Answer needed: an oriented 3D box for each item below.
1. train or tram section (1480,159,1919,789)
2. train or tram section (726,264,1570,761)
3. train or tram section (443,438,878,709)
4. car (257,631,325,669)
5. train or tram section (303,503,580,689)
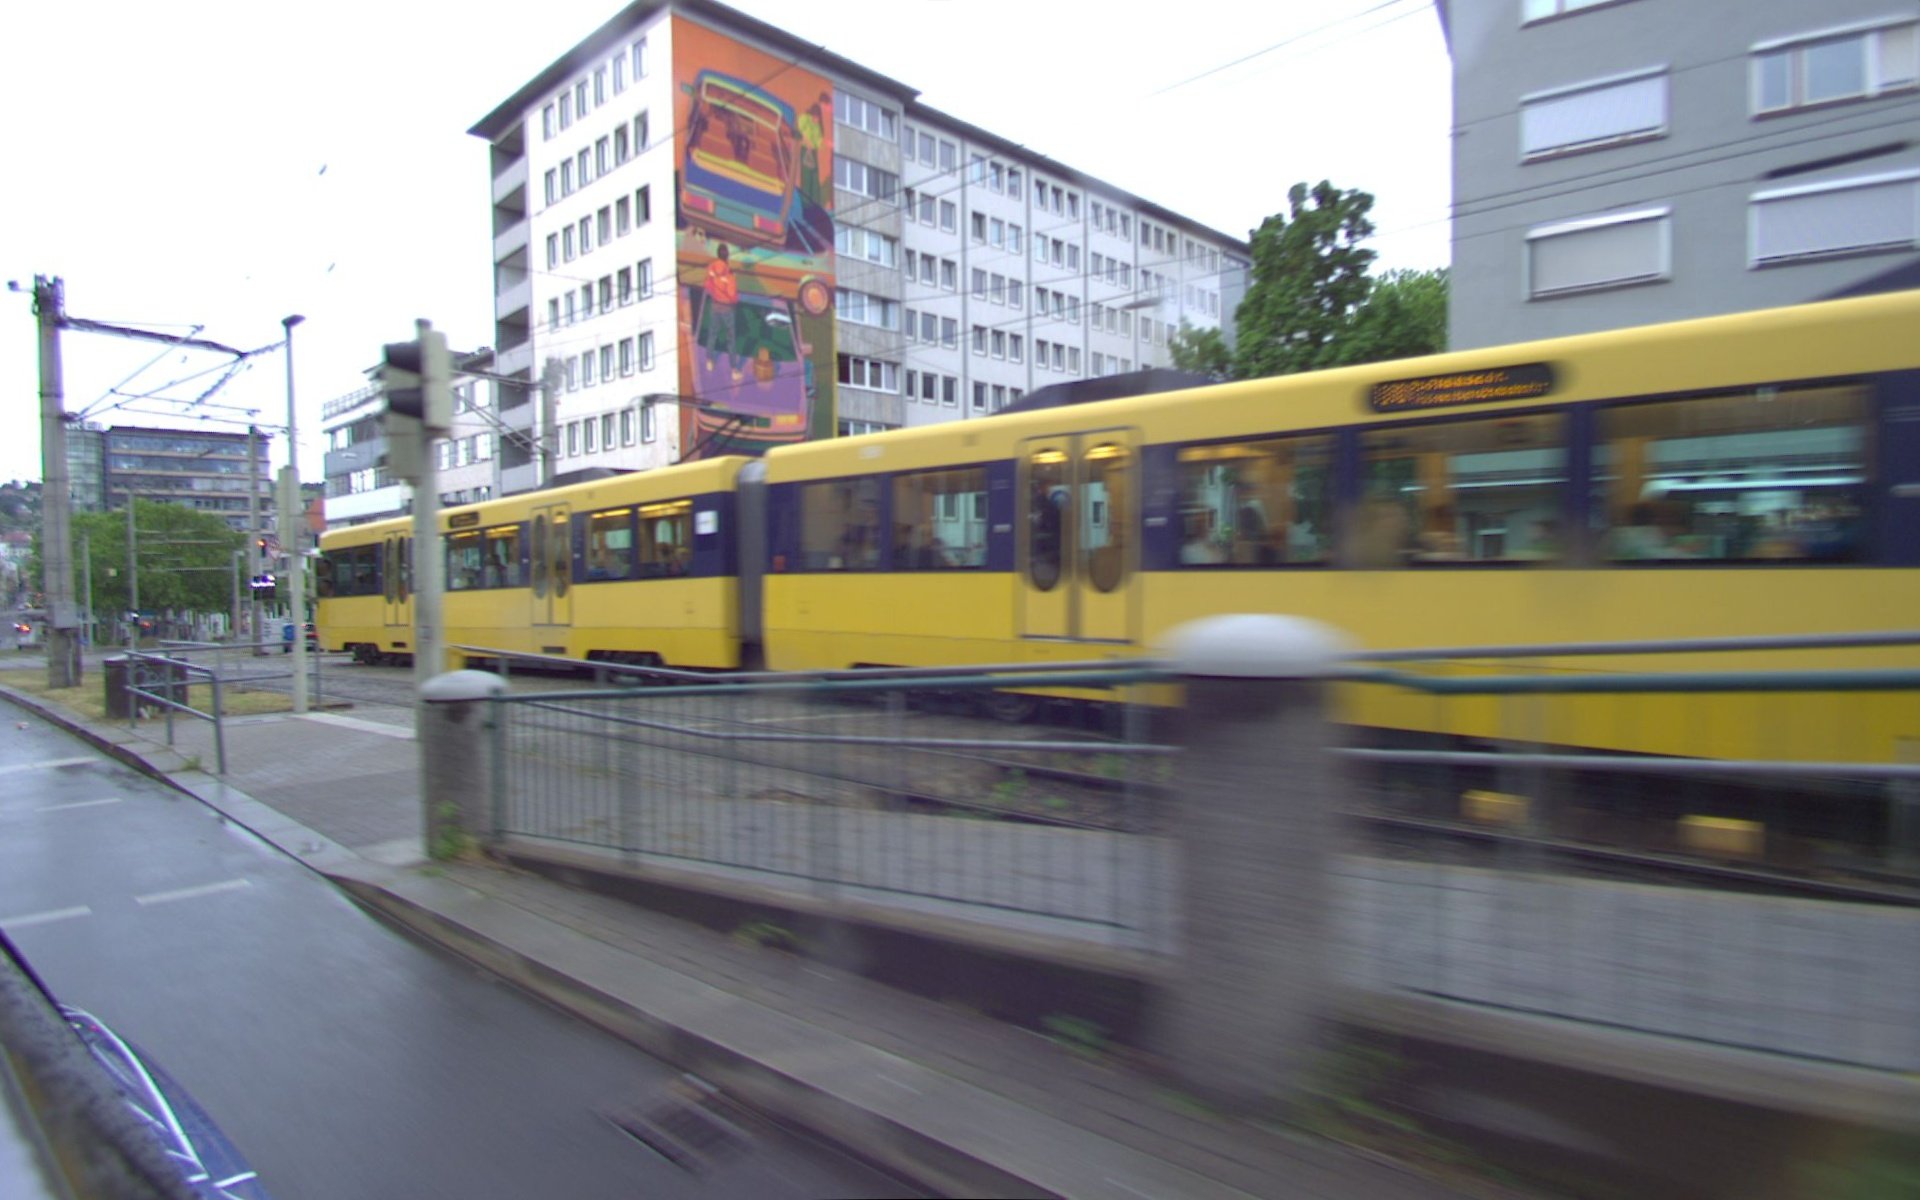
[{"bbox_3d":[8.463,-0.859,5.332,9.711,3.719,2.750,-2,1,42],"label":"train or tram section"},{"bbox_3d":[1.302,-0.572,11.784,9.506,3.719,2.750,-2,1,42],"label":"train or tram section"},{"bbox_3d":[-5.809,-0.283,18.109,9.506,3.719,2.750,-2,1,42],"label":"train or tram section"},{"bbox_3d":[-32.857,2.459,49.680,3.866,1.645,1.801,-4,-1,42],"label":"car"},{"bbox_3d":[-12.709,-0.005,24.282,8.972,3.719,2.750,-2,1,42],"label":"train or tram section"}]
